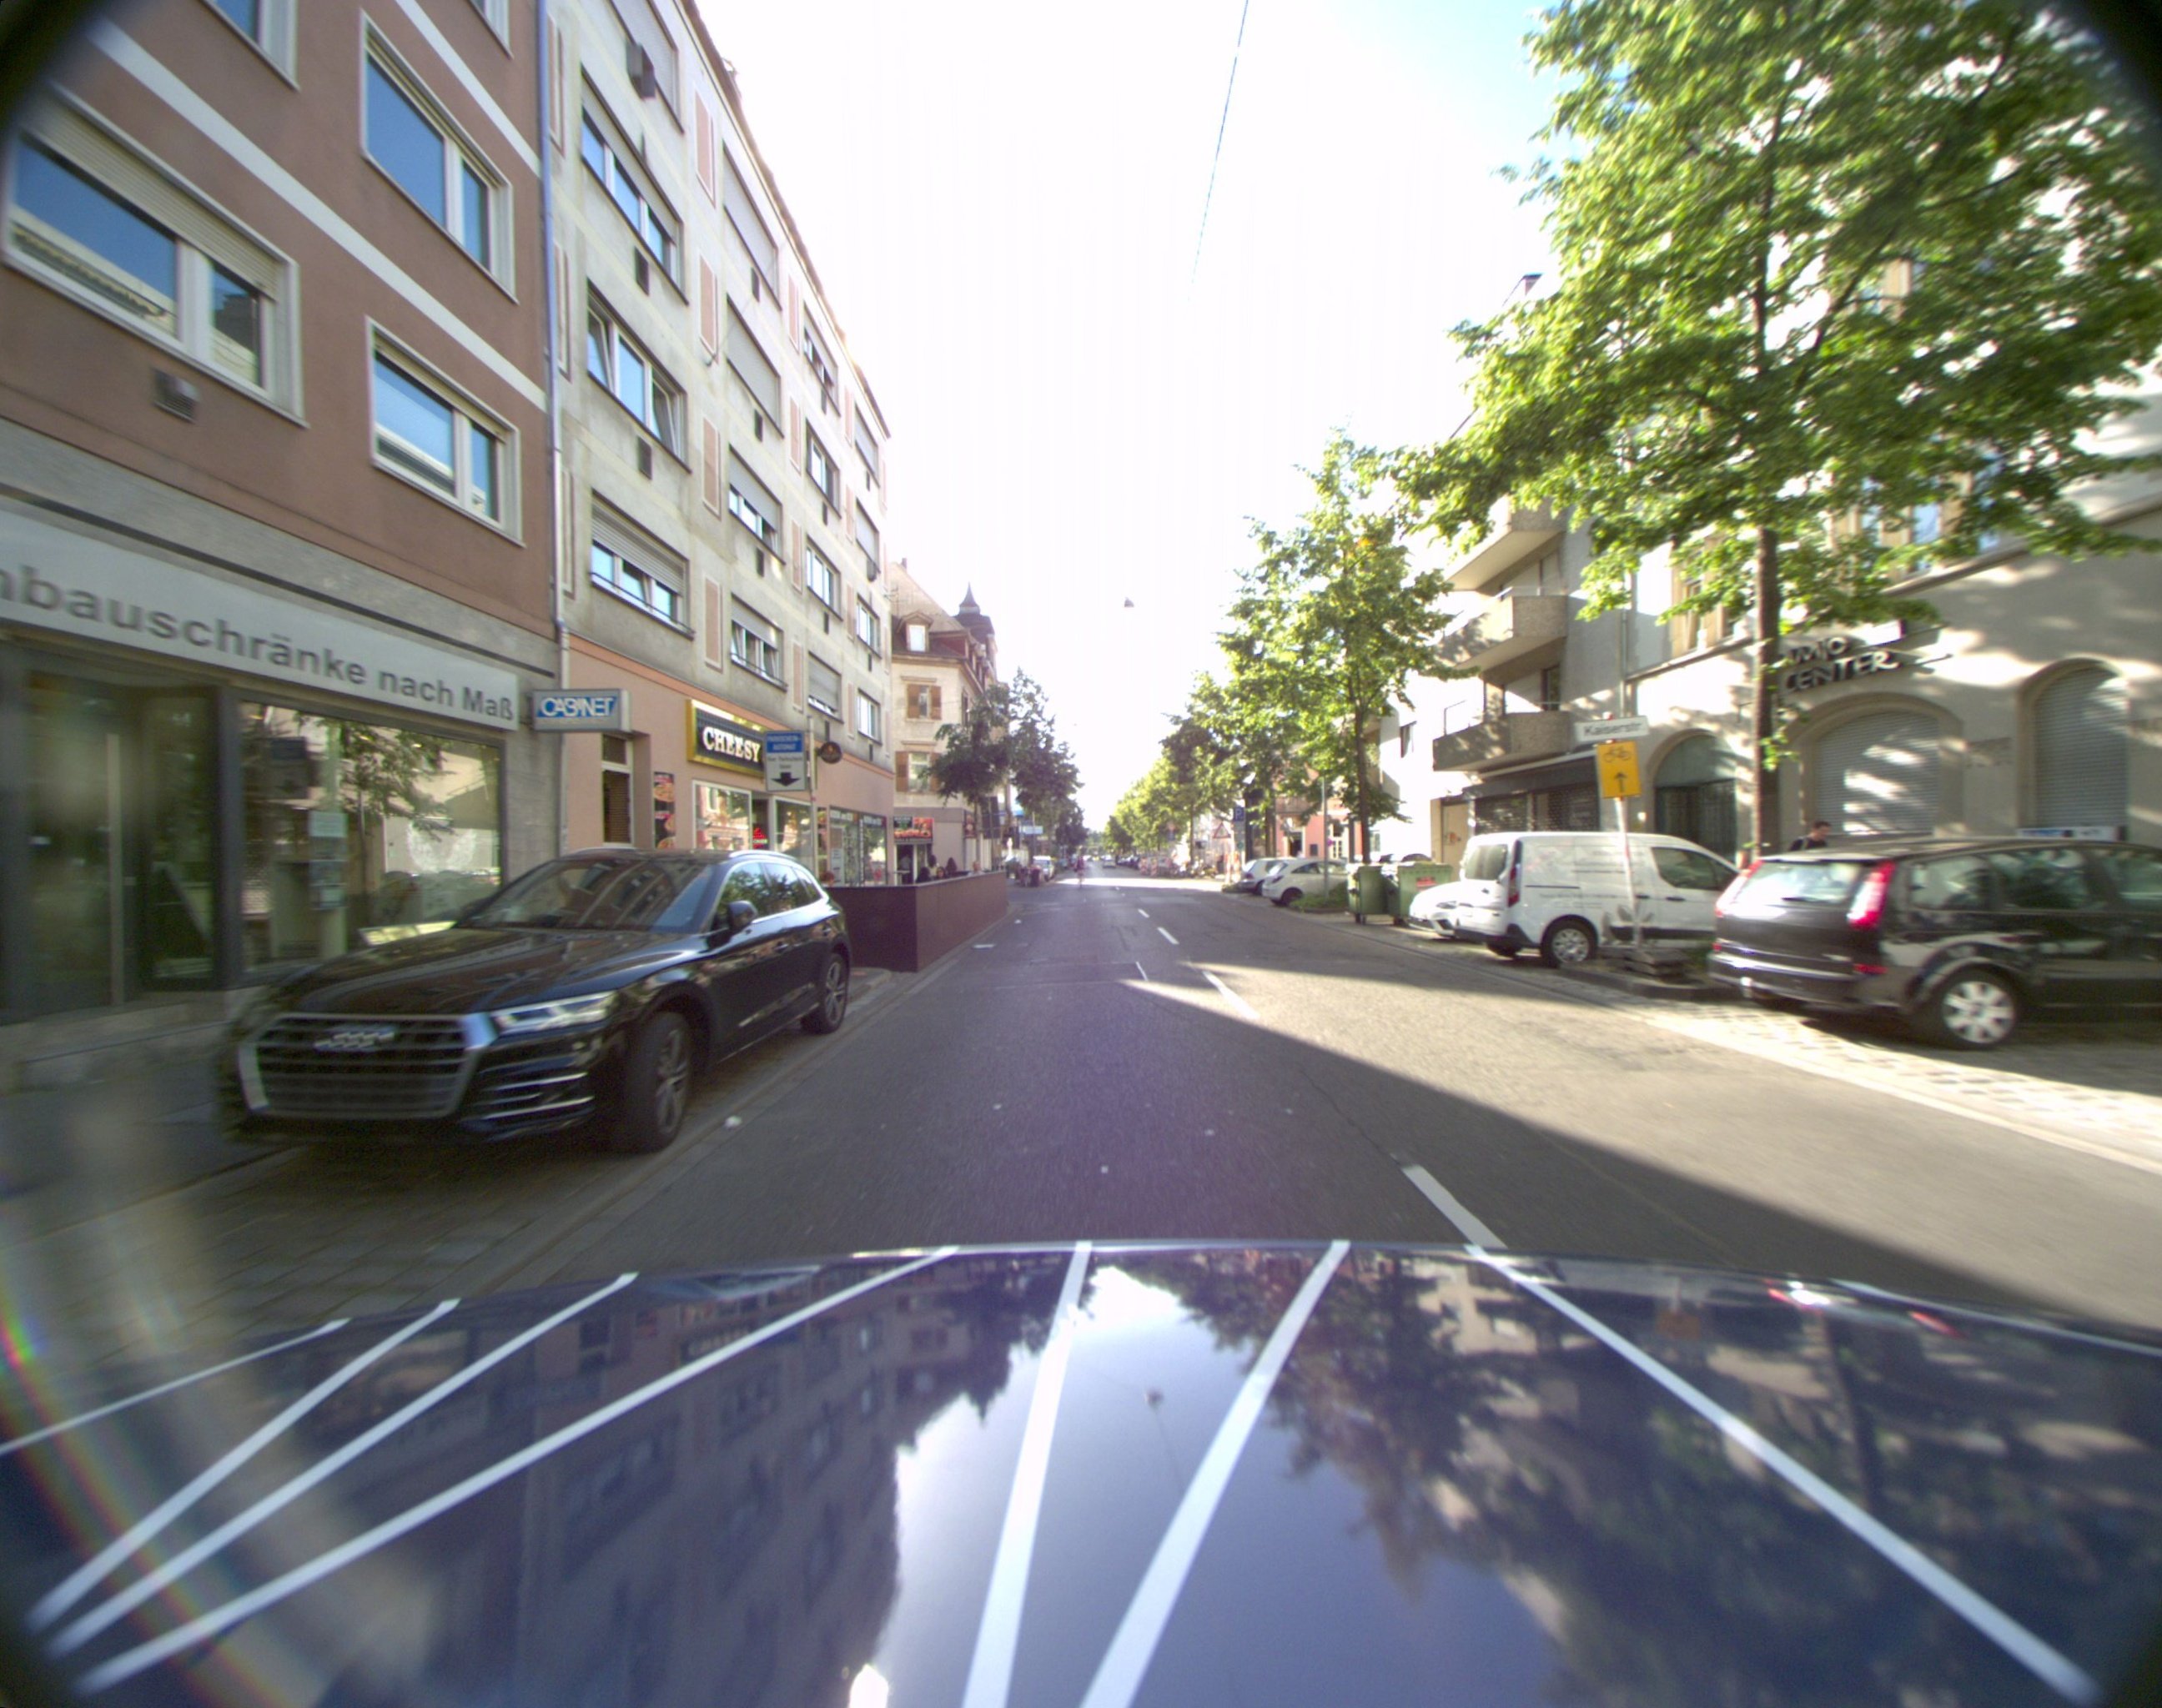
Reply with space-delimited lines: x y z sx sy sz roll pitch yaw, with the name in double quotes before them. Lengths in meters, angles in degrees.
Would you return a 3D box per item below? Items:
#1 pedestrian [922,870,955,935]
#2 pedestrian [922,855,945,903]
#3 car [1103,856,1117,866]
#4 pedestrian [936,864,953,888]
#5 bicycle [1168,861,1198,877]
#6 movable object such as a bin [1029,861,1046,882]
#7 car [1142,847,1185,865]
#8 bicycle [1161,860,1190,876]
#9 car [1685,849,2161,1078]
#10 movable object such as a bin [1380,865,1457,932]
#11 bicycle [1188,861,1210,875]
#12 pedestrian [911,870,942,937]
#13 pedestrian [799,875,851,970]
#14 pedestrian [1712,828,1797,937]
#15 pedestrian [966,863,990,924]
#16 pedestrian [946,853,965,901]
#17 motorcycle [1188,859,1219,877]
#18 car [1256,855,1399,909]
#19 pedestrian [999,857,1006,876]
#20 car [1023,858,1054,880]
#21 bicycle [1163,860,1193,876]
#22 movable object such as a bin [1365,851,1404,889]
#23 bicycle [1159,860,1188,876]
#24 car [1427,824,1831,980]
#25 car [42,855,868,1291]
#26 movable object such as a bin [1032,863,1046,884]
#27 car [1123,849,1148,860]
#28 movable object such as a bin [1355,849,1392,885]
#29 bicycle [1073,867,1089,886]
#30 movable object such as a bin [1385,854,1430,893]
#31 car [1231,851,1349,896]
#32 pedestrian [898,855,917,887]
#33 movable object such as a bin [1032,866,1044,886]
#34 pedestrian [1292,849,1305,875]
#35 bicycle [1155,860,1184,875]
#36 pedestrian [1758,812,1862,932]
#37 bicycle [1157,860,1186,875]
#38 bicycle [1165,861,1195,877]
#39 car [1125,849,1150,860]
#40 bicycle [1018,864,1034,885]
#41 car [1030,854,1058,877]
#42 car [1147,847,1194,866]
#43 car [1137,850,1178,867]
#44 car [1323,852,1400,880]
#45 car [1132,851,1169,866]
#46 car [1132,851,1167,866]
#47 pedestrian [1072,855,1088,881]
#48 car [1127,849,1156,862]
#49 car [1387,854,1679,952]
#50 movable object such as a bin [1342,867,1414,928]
"pedestrian" -3.094 1.050 16.561 0.553 1.371 0.594 -2 1 1
"pedestrian" -5.161 0.859 26.537 0.643 1.635 0.748 1 0 -1
"car" 4.174 0.943 109.123 1.835 1.410 3.833 0 0 1
"pedestrian" -7.177 1.149 39.977 0.714 1.252 0.589 -2 3 -39
"bicycle" 7.096 1.050 53.013 2.006 1.023 0.473 -3 1 -12
"movable object such as a bin" -2.538 1.009 44.449 0.944 1.207 0.699 0 1 1
"car" 8.436 0.198 78.270 4.134 1.670 2.000 -2 1 -1
"bicycle" 6.794 1.010 54.524 2.006 1.023 0.473 -3 1 -12
"car" 7.635 0.781 6.293 3.809 1.549 1.792 -2 0 1
"movable object such as a bin" 7.096 0.917 16.039 1.195 1.337 0.931 -2 1 0
"bicycle" 8.412 0.972 54.246 1.513 0.945 0.360 -2 1 41
"pedestrian" -3.208 1.015 15.821 0.474 1.354 0.594 -2 1 1
"pedestrian" -3.716 0.981 11.042 0.473 1.323 0.484 -1 1 34
"pedestrian" 10.509 0.433 11.880 0.566 1.617 0.727 -5 1 -1
"pedestrian" -2.643 1.007 19.495 0.474 1.520 0.462 -2 1 1
"pedestrian" -4.381 0.784 26.517 0.515 1.635 0.748 1 0 0
"motorcycle" 8.431 0.938 52.245 2.003 1.178 0.740 -2 0 3
"car" 7.490 0.828 23.346 3.788 1.455 1.710 -2 0 -2
"pedestrian" -5.990 0.950 58.094 0.460 1.434 0.521 -2 1 -1
"car" -2.862 0.966 52.011 1.835 1.410 4.159 1 0 0
"bicycle" 6.893 1.015 54.024 2.006 1.023 0.473 -3 1 -12
"movable object such as a bin" 11.952 0.606 29.984 1.035 1.451 1.258 -1 0 2
"bicycle" 6.699 1.004 54.947 2.006 1.023 0.473 -3 1 -12
"car" 7.367 0.613 10.601 4.115 1.825 2.038 -2 0 1
"car" -3.149 0.884 5.310 1.998 1.680 4.516 2 0 0
"movable object such as a bin" -2.436 1.123 43.844 0.721 1.149 0.602 -1 0 3
"car" 9.460 0.142 132.440 4.134 1.792 1.911 -2 1 -1
"movable object such as a bin" 12.043 0.521 31.327 1.035 1.451 1.258 -1 0 2
"bicycle" -0.023 1.209 40.923 0.805 0.958 1.996 -2 0 -1
"movable object such as a bin" 11.993 0.698 27.965 1.080 1.406 1.352 -1 0 2
"car" 7.926 0.725 29.083 4.008 1.456 1.748 -3 2 1
"pedestrian" -9.511 0.933 41.644 0.801 1.687 0.705 -2 3 -39
"movable object such as a bin" -2.434 1.240 42.959 0.634 1.062 0.602 0 3 2
"pedestrian" 14.410 0.503 50.372 0.630 1.716 0.580 -1 0 -3
"bicycle" 6.506 0.989 55.900 2.006 1.023 0.473 -3 1 -12
"pedestrian" 11.403 0.276 11.907 0.776 1.756 0.763 -5 1 -1
"bicycle" 6.607 0.995 55.399 2.006 1.023 0.473 -3 1 -12
"bicycle" 6.996 1.034 53.541 2.006 1.023 0.473 -3 1 -12
"car" 9.646 0.114 129.297 4.134 1.792 1.911 -2 1 -1
"bicycle" -3.109 1.153 42.769 0.378 1.139 1.670 0 1 -24
"car" -2.763 0.856 57.081 1.835 1.641 4.159 1 0 1
"car" 8.477 0.246 72.282 4.134 1.670 2.000 -2 1 -1
"car" 8.117 0.416 80.707 4.134 1.670 2.000 -2 1 -1
"car" 15.529 0.651 42.082 3.606 1.468 1.901 -1 0 -22
"car" 8.113 0.494 88.872 4.134 1.584 1.911 -2 1 -1
"car" 8.386 0.532 93.629 4.134 1.792 1.911 -2 1 -1
"pedestrian" -0.042 0.748 40.925 0.804 1.381 0.931 -2 0 -1
"car" 8.862 0.209 111.541 4.134 1.792 1.911 -2 1 -1
"car" 7.768 0.807 13.372 3.989 1.455 1.887 -2 0 1
"movable object such as a bin" 6.624 0.950 17.001 1.240 1.295 0.870 -1 1 0
